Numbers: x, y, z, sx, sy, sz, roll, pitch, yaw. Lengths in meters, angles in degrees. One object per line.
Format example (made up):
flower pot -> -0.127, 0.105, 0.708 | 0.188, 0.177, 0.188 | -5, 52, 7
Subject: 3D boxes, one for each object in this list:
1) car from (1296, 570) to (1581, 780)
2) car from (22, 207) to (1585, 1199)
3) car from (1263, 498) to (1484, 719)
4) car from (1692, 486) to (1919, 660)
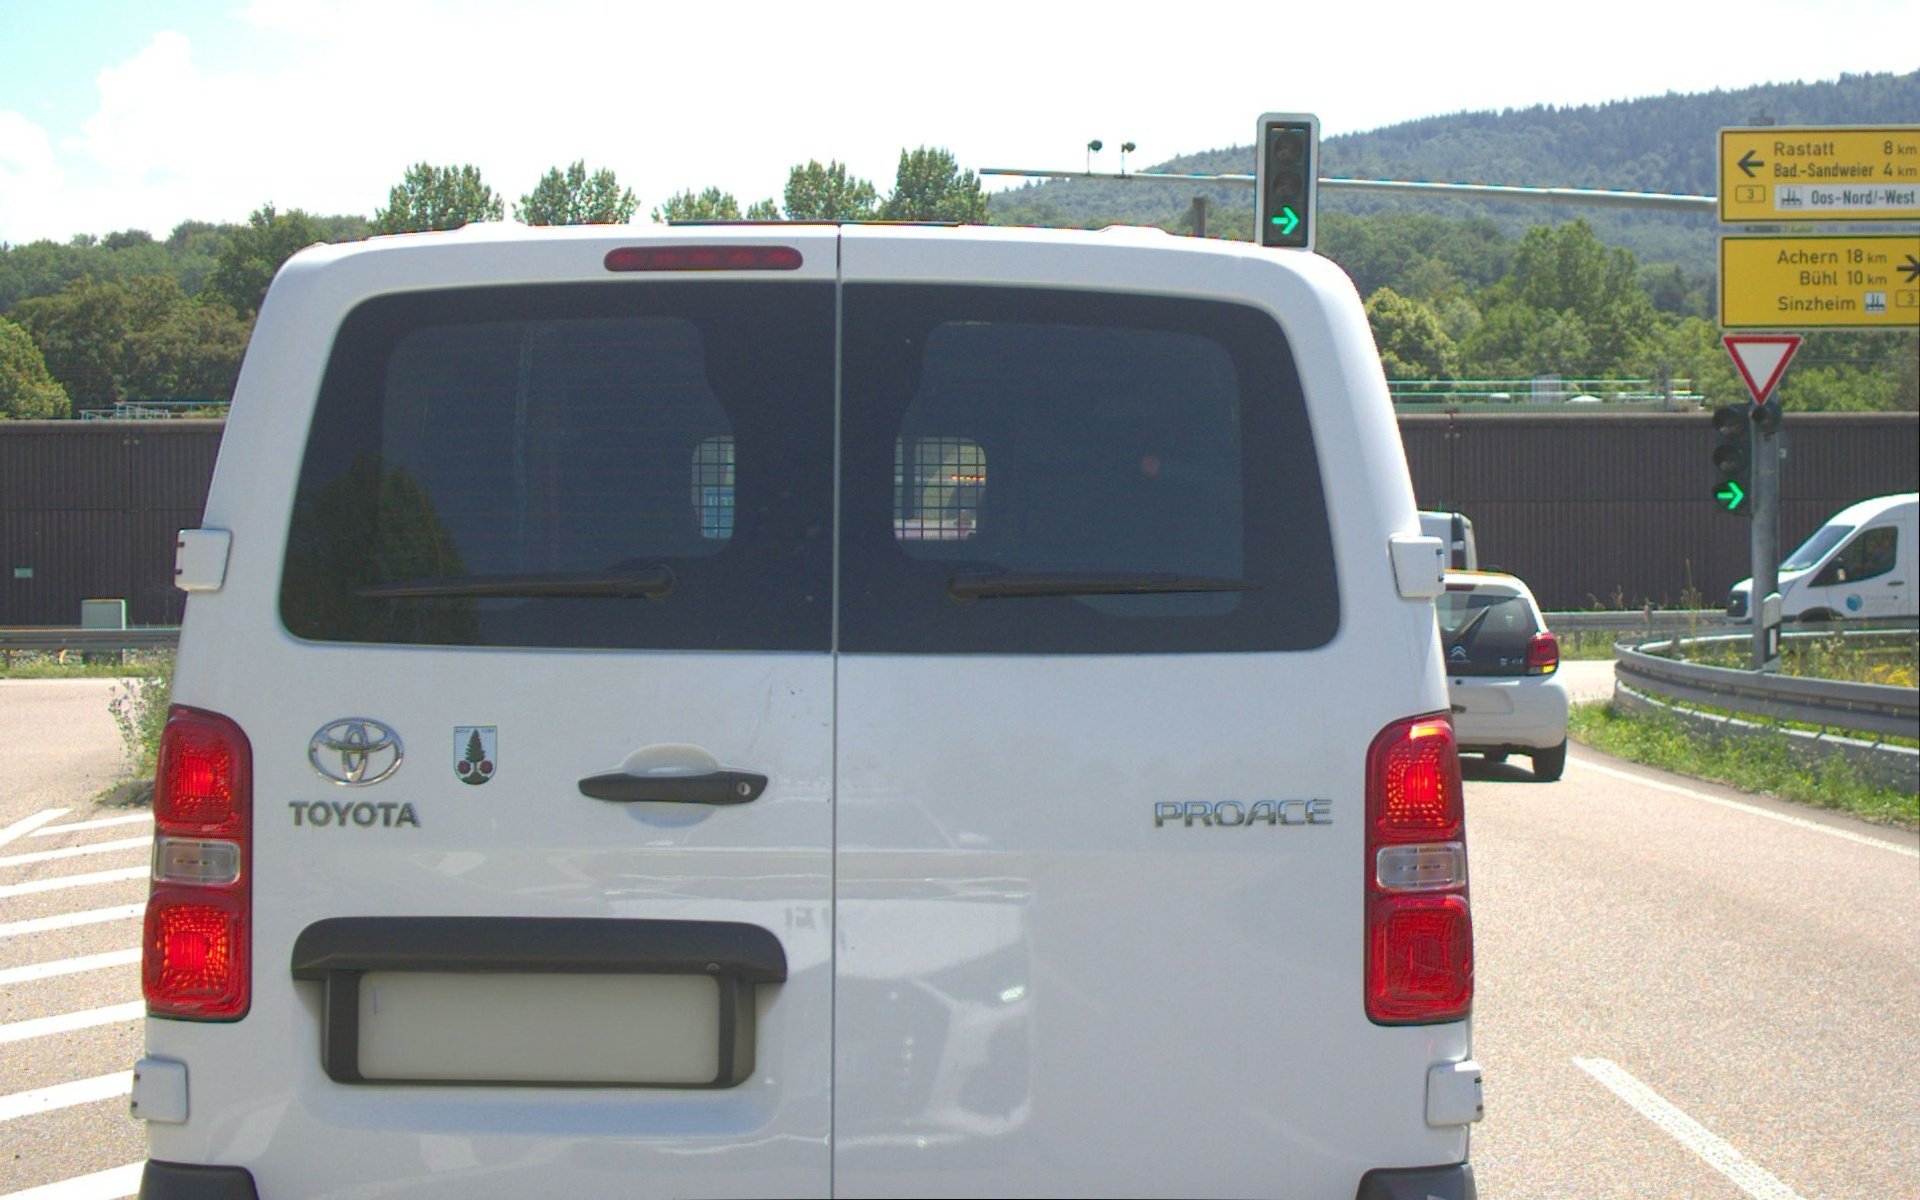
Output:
car -> 3.455, 0.502, 25.338 | 1.656, 1.426, 3.365 | 1, 1, 1
car -> -0.232, 0.455, 6.181 | 1.886, 1.880, 4.000 | 1, 1, -1
car -> 4.130, 0.056, 33.773 | 1.929, 1.993, 4.835 | 1, 1, 9
car -> 13.430, -0.390, 49.426 | 5.344, 2.442, 2.040 | 0, 1, -2
